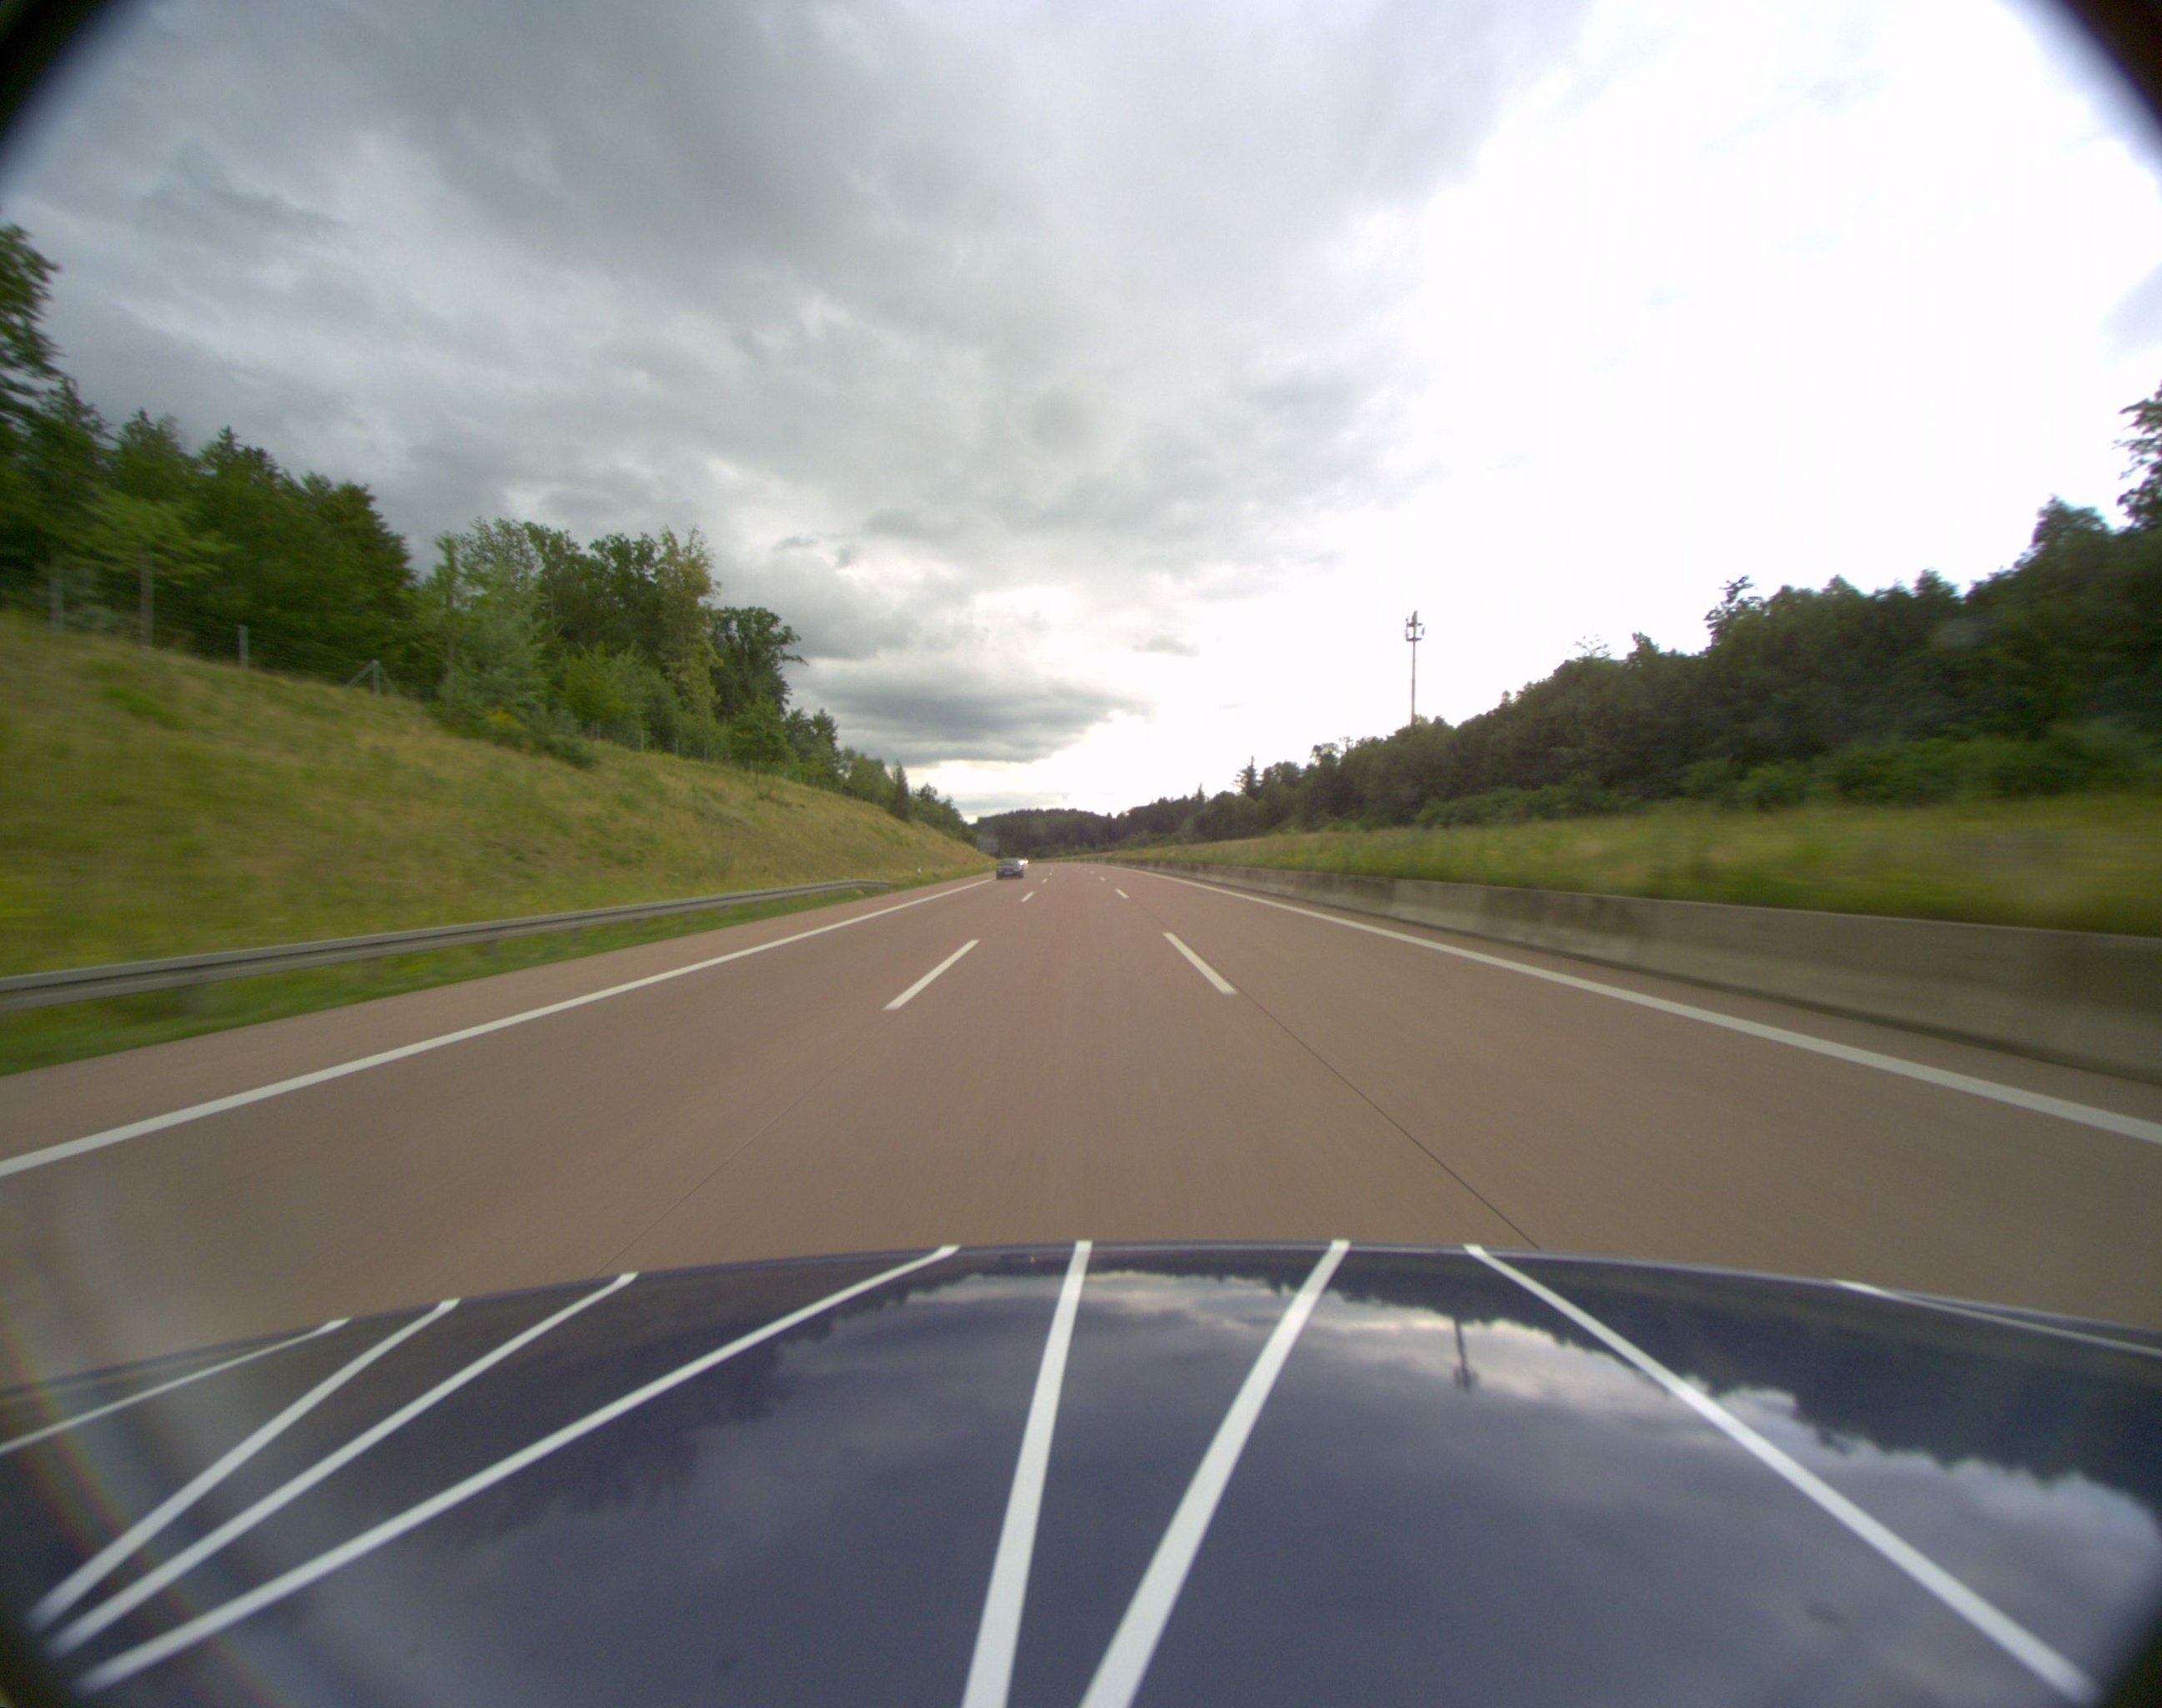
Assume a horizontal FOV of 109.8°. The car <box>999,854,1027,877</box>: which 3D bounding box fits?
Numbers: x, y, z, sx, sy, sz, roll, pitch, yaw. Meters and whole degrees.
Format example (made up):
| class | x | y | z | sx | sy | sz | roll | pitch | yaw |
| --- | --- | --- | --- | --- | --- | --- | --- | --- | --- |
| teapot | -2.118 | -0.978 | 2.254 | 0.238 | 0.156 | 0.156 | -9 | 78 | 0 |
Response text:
| class | x | y | z | sx | sy | sz | roll | pitch | yaw |
| --- | --- | --- | --- | --- | --- | --- | --- | --- | --- |
| car | -4.766 | 0.783 | 53.526 | 1.676 | 1.395 | 4.231 | -1 | 1 | -2 |
